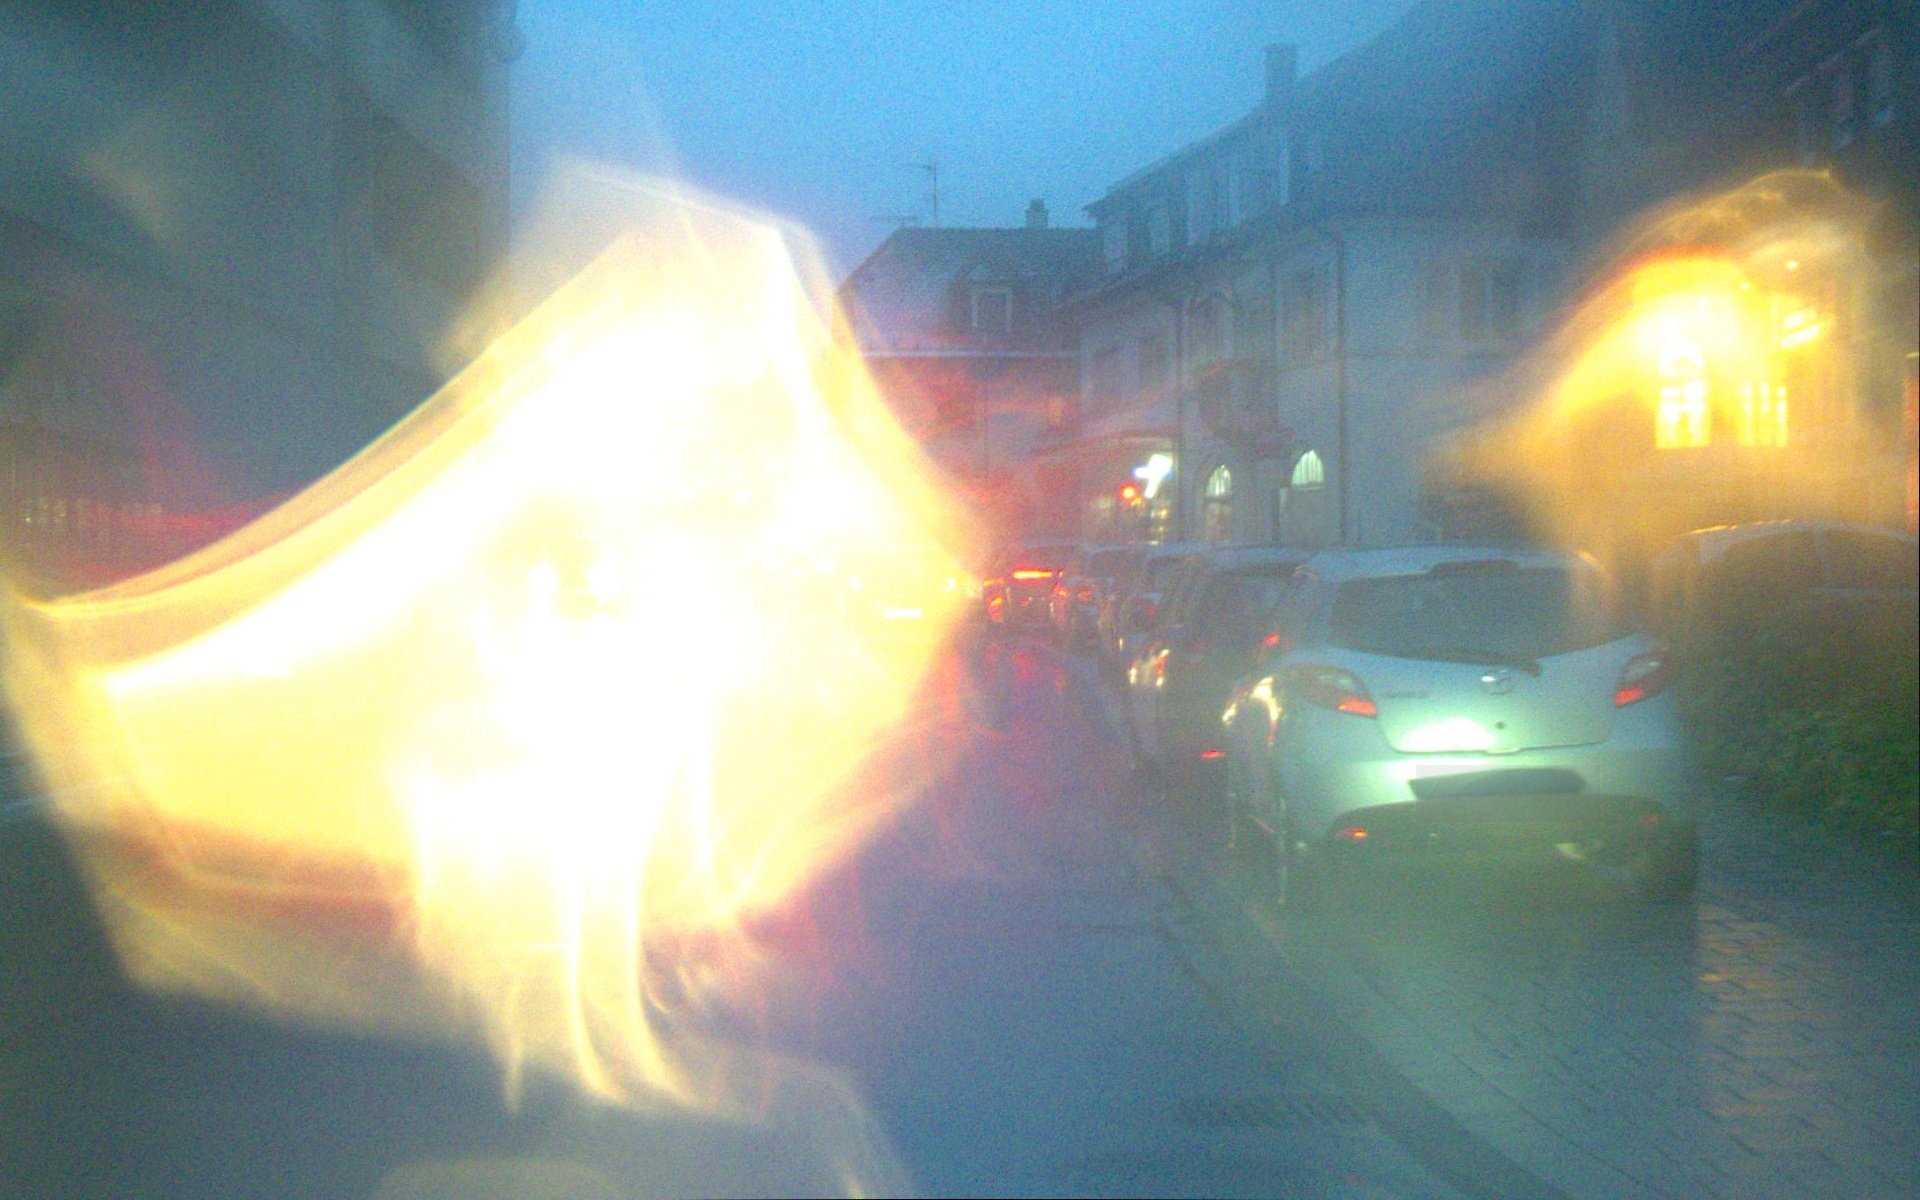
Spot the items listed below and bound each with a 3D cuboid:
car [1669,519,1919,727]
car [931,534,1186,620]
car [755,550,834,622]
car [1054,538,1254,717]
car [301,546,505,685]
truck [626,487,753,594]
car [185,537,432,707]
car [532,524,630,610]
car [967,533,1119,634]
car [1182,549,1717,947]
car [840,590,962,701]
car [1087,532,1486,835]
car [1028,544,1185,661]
[{"bbox_3d":[7.221,0.110,25.987,3.289,1.436,1.686,-3,0,-1],"label":"car"},{"bbox_3d":[1.823,-0.454,64.248,4.465,1.468,1.898,-2,1,-9],"label":"car"},{"bbox_3d":[-3.587,-0.322,74.325,1.638,1.476,3.272,1,1,-3],"label":"car"},{"bbox_3d":[1.692,0.203,30.831,1.626,1.436,3.799,-2,1,2],"label":"car"},{"bbox_3d":[-6.284,0.137,39.177,1.675,1.441,4.428,1,1,-1],"label":"car"},{"bbox_3d":[-8.388,-1.844,105.829,3.014,3.118,8.002,1,1,-11],"label":"truck"},{"bbox_3d":[-6.320,0.175,33.704,1.615,1.527,3.928,2,1,0],"label":"car"},{"bbox_3d":[-7.660,-0.689,69.229,1.794,1.637,3.813,1,1,-8],"label":"car"},{"bbox_3d":[1.301,-0.305,56.046,1.882,1.541,4.672,-1,1,-6],"label":"car"},{"bbox_3d":[2.005,0.539,15.166,1.732,1.454,4.000,-2,1,0],"label":"car"},{"bbox_3d":[-0.877,0.623,49.138,1.638,1.476,3.379,1,1,-2],"label":"car"},{"bbox_3d":[1.805,0.412,20.308,1.764,1.521,4.390,-2,1,-2],"label":"car"},{"bbox_3d":[1.953,-0.005,47.016,1.794,1.455,4.531,-2,1,-1],"label":"car"}]
